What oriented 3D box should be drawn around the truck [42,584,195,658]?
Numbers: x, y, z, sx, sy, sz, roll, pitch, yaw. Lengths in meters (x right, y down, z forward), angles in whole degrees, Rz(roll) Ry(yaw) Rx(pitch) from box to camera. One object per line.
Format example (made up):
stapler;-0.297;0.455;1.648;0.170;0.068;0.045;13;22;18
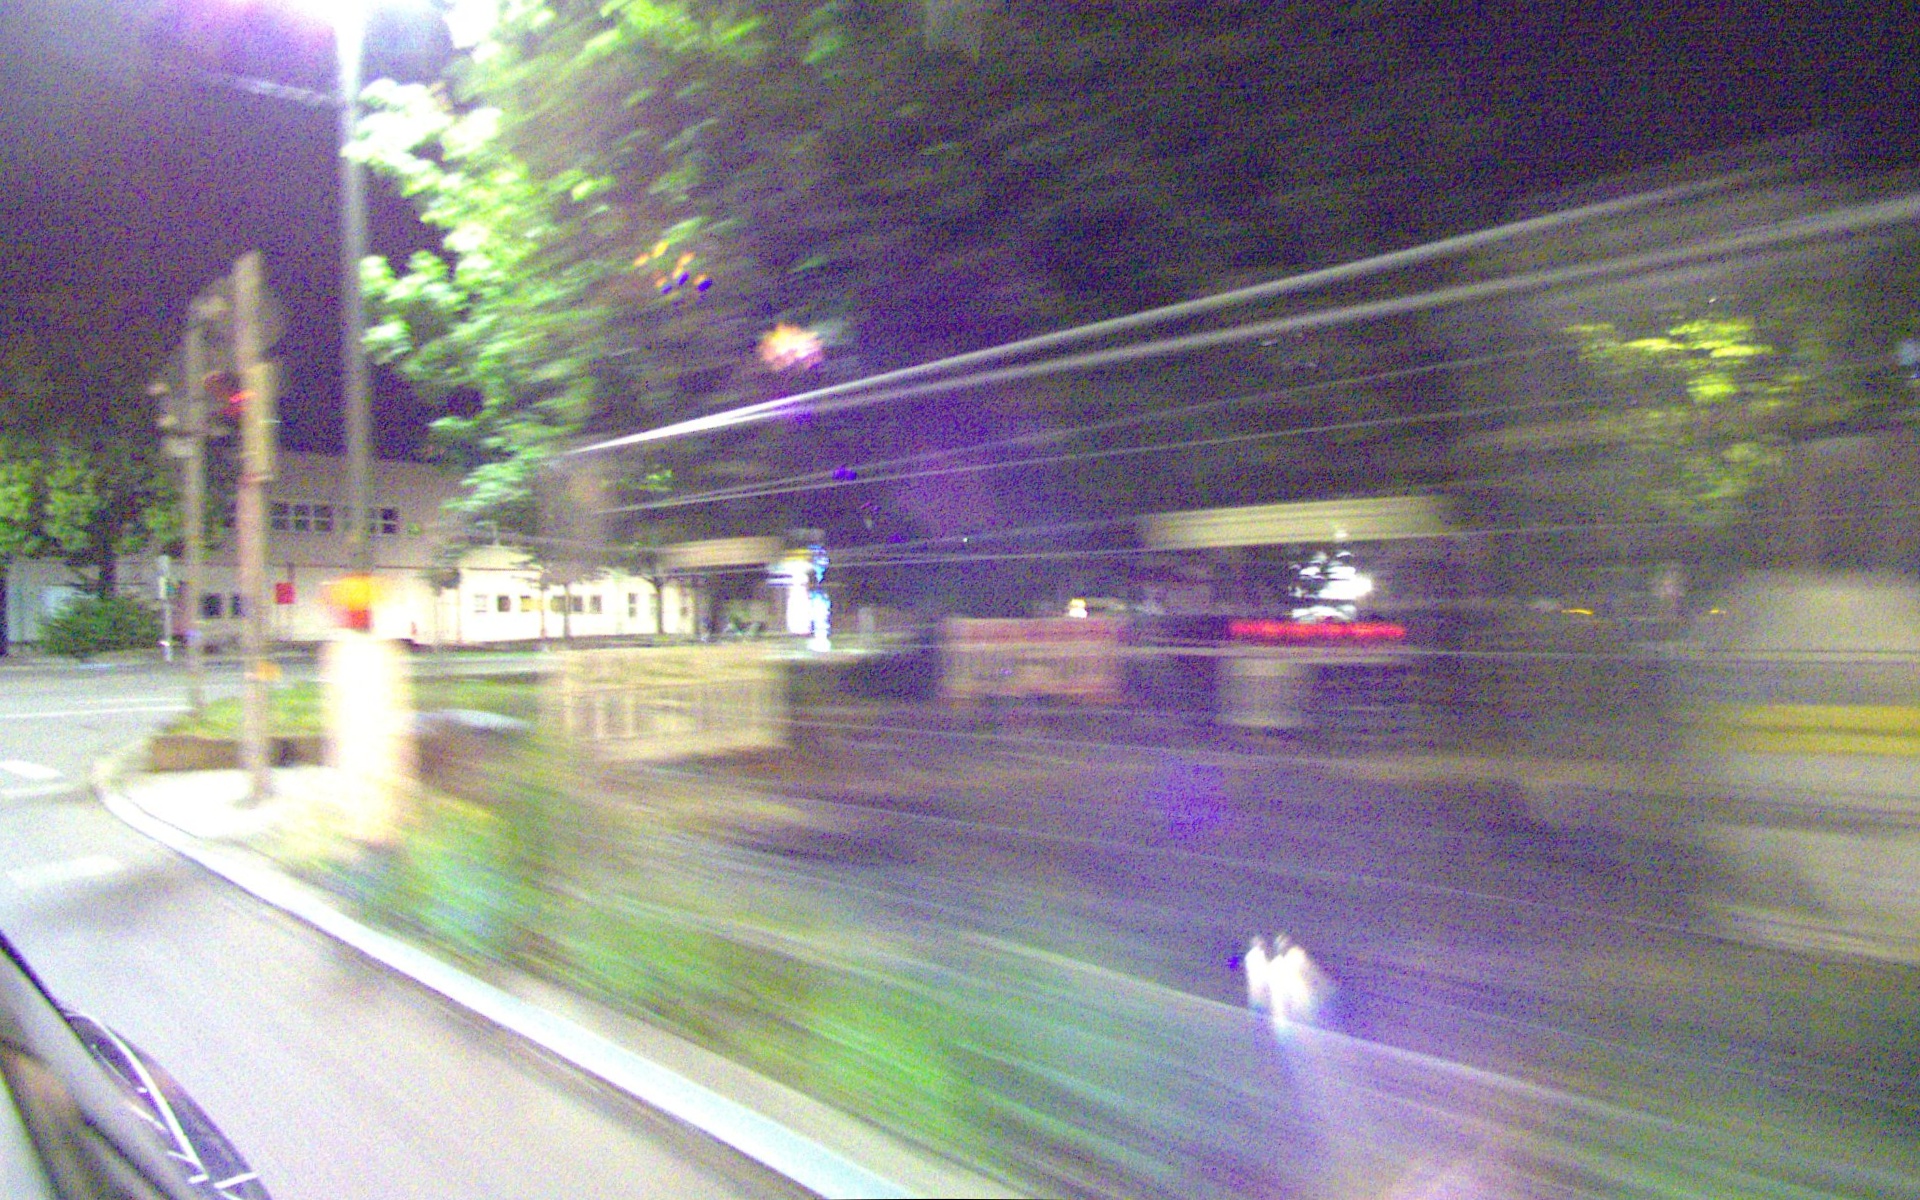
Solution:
truck;-44.227;1.063;53.439;6.106;3.722;2.406;0;-1;-38
